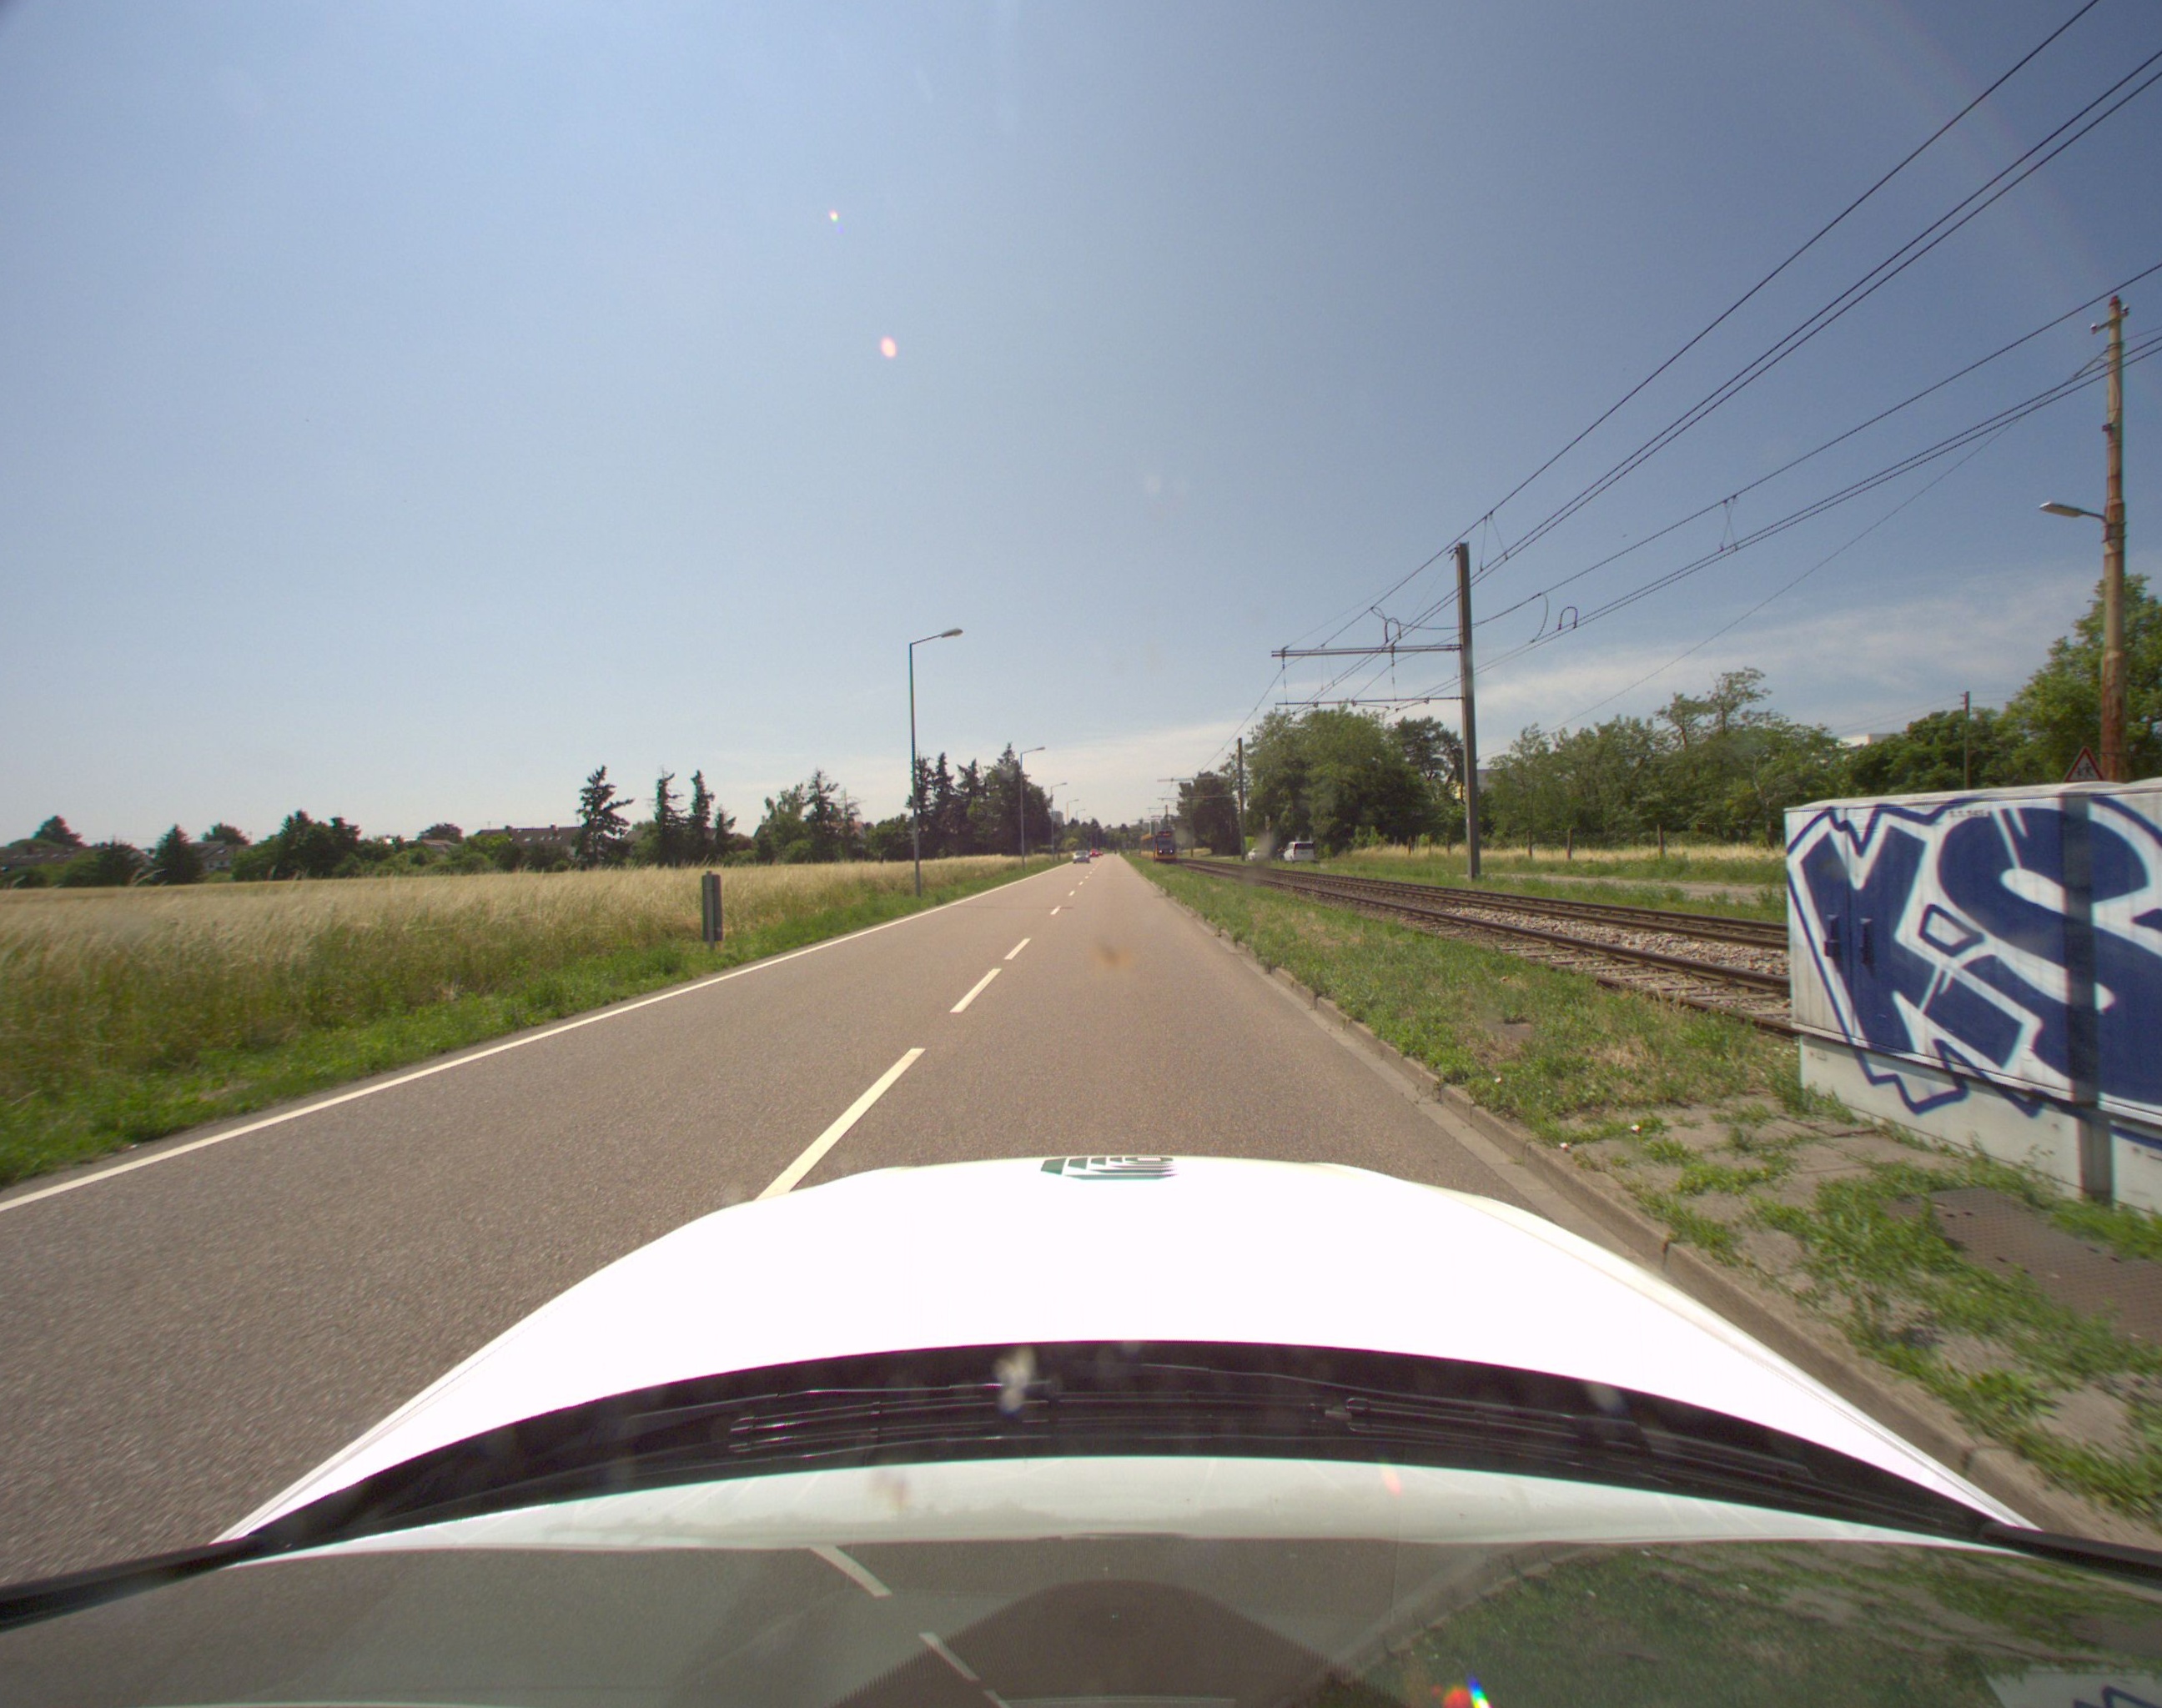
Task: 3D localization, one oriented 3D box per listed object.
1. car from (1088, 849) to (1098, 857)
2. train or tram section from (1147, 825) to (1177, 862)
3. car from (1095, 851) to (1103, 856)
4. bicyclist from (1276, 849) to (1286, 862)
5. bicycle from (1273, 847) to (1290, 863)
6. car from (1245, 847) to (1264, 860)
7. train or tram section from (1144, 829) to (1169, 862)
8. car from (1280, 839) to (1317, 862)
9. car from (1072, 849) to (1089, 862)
[{"bbox_3d":[2.236,-0.142,146.709,1.639,1.400,3.846,-2,-1,2],"label":"car"},{"bbox_3d":[8.851,-1.033,90.091,2.420,3.766,11.564,-2,-1,2],"label":"train or tram section"},{"bbox_3d":[4.425,-0.102,194.536,1.800,1.285,4.288,-2,-1,2],"label":"car"},{"bbox_3d":[19.935,0.163,81.099,0.699,1.338,0.904,-2,-1,2],"label":"bicyclist"},{"bbox_3d":[19.886,0.120,80.923,0.924,1.430,3.387,-2,-1,2],"label":"bicycle"},{"bbox_3d":[19.080,-0.073,89.711,1.422,1.308,3.467,-2,-1,2],"label":"car"},{"bbox_3d":[9.198,-0.980,99.296,2.551,3.713,6.732,-2,-1,2],"label":"train or tram section"},{"bbox_3d":[18.703,-0.252,70.308,1.986,1.802,4.796,-2,-1,2],"label":"car"},{"bbox_3d":[-0.017,0.206,95.025,1.827,1.467,4.680,-2,-1,2],"label":"car"}]
